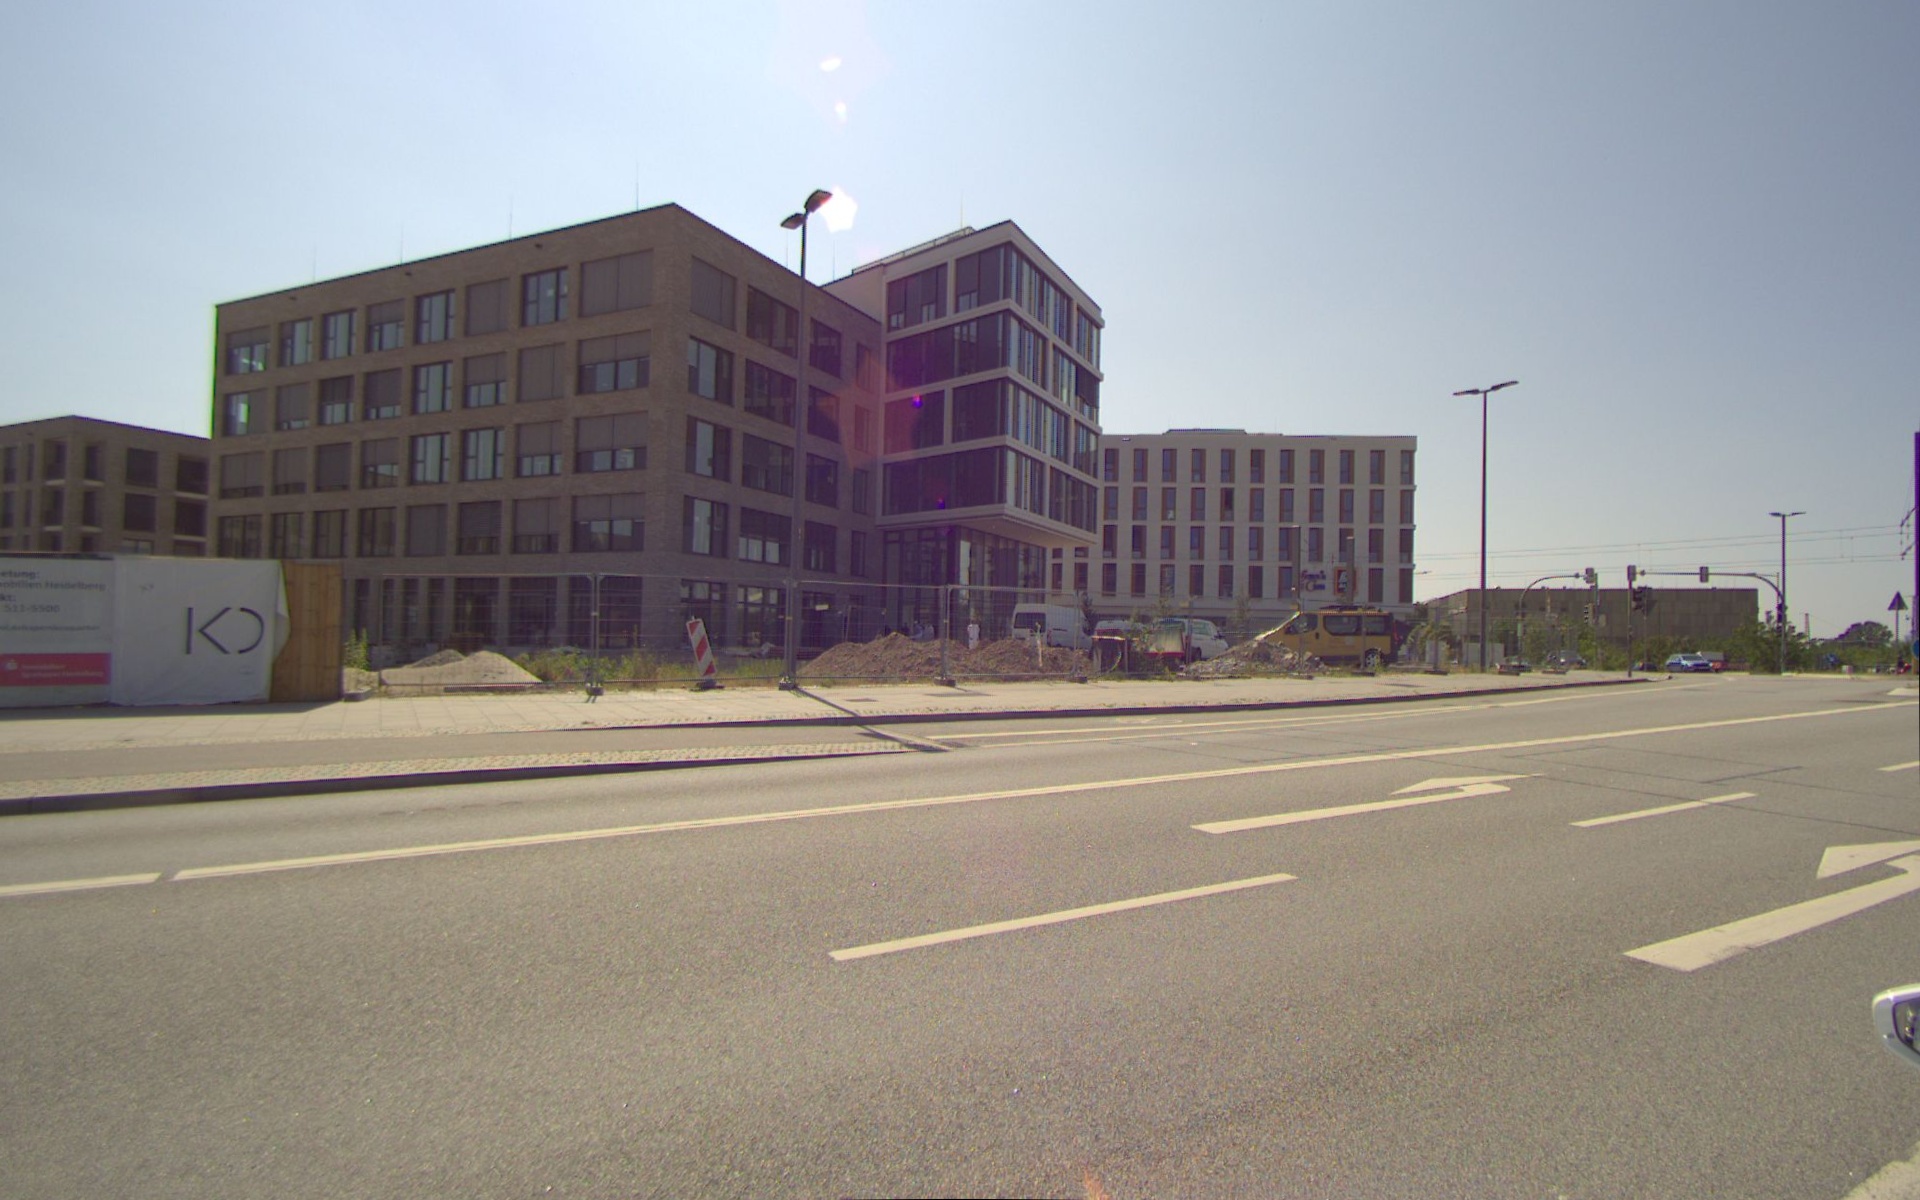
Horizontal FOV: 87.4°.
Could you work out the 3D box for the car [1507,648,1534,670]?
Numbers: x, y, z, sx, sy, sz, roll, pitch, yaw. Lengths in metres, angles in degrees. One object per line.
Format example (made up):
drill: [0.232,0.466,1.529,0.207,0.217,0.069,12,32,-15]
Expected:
car: [46.554,4.908,83.431,1.541,1.608,3.477,2,0,23]

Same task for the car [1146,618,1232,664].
car: [9.659,1.683,42.168,1.841,1.797,4.637,2,0,36]

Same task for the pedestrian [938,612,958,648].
pedestrian: [-0.583,1.455,48.827,0.734,1.741,0.699,2,0,16]

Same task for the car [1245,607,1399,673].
car: [12.065,1.290,33.736,4.533,1.988,1.991,2,0,9]

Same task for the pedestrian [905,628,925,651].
pedestrian: [-2.126,1.874,47.342,0.734,1.041,0.699,2,0,16]

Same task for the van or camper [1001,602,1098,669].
van or camper: [4.088,1.543,45.013,2.273,2.772,4.975,2,0,32]

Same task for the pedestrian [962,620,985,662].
pedestrian: [0.568,1.734,42.404,0.734,1.741,0.699,2,0,16]

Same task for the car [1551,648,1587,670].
car: [44.342,4.293,73.187,1.646,1.496,3.405,0,-1,22]

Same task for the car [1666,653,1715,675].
car: [52.242,4.557,71.905,1.787,1.348,4.000,2,-2,20]

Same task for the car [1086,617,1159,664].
car: [7.112,1.710,43.670,1.760,1.881,3.842,2,0,32]
